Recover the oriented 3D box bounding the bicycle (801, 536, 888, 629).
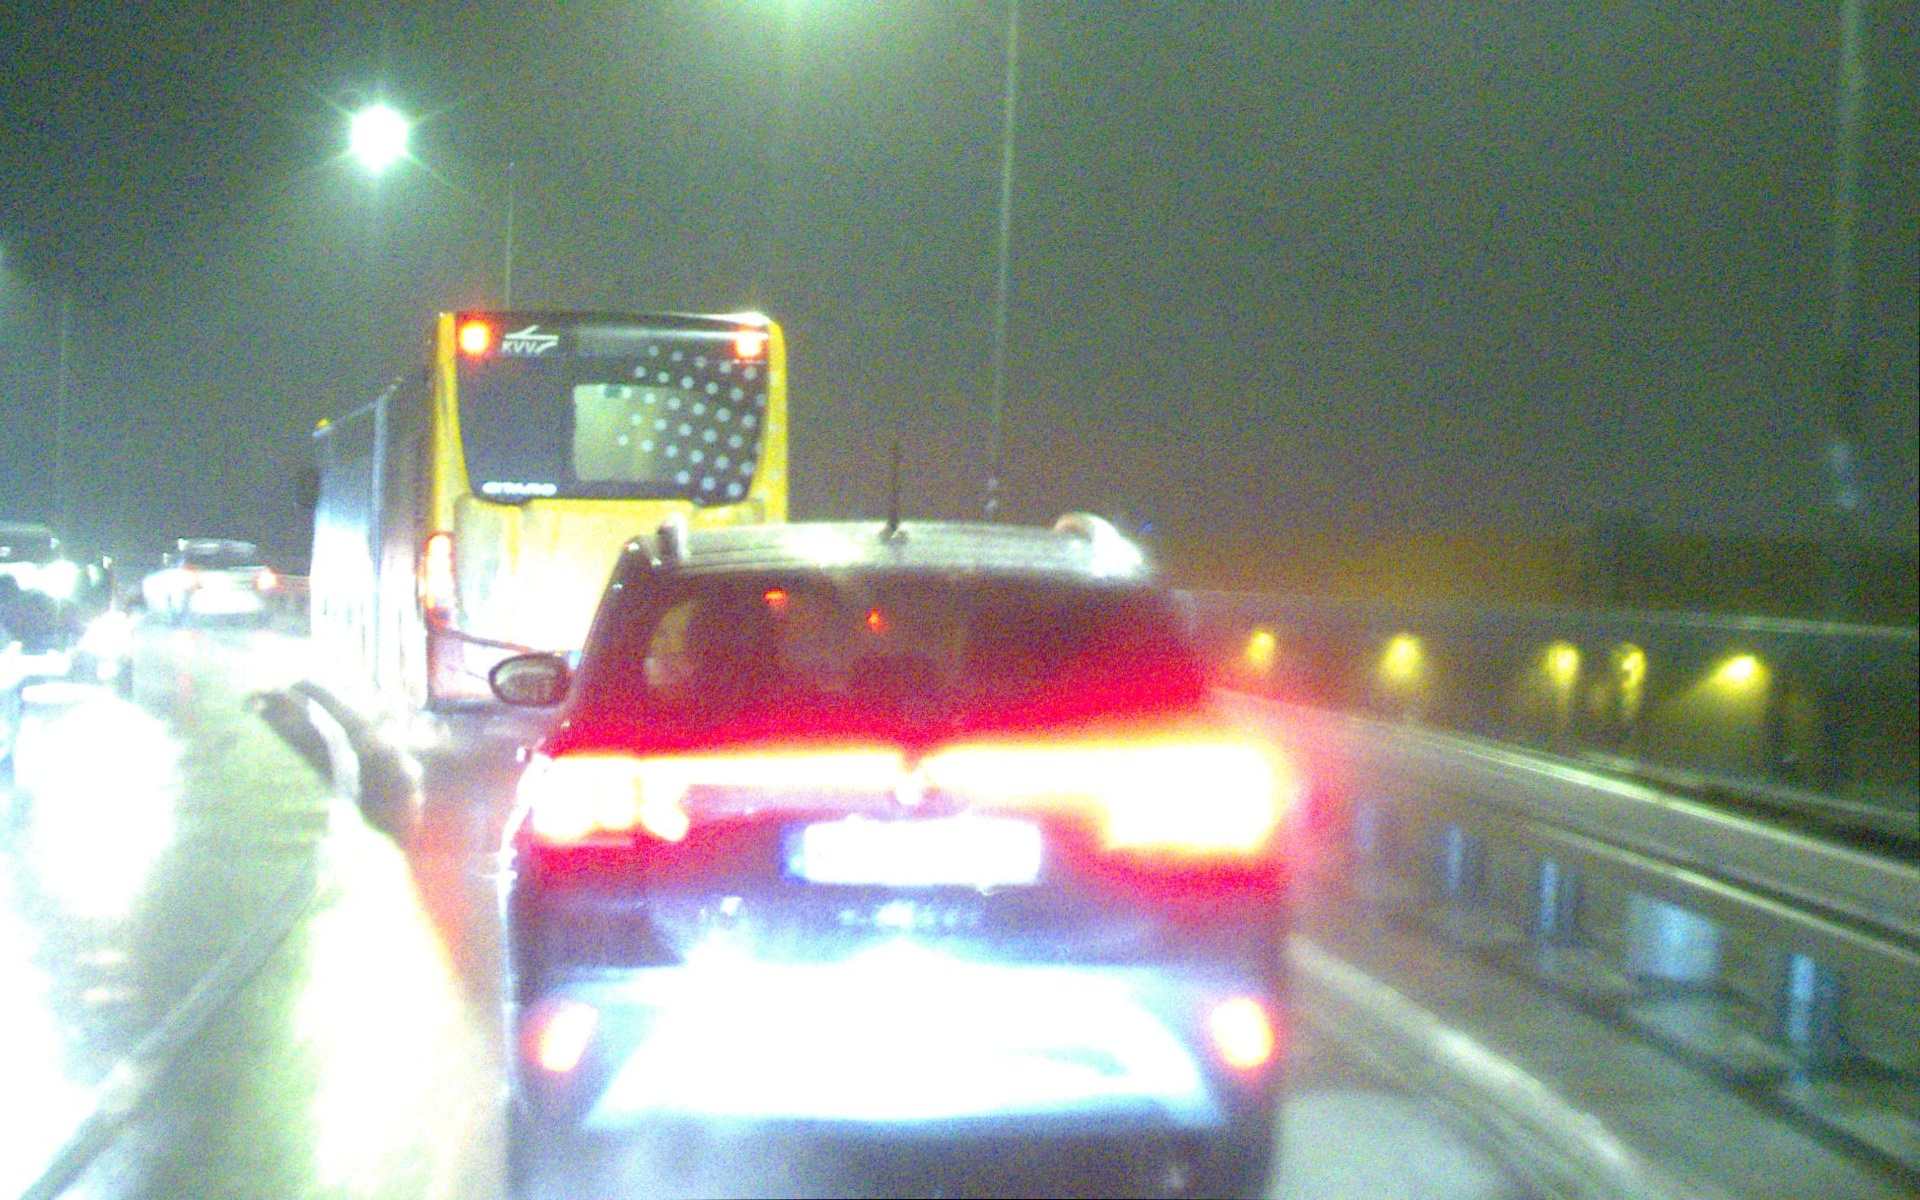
[{"bbox_3d":[-1.343,-0.211,39.483,0.484,1.031,2.172,0,1,-16],"label":"bicycle"}]

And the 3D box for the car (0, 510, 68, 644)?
[{"bbox_3d":[-14.051,-0.358,49.849,1.753,1.854,4.001,-2,2,-20],"label":"car"}]

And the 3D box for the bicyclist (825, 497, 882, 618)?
[{"bbox_3d":[-1.210,-0.485,39.041,0.452,1.345,0.765,1,1,-15],"label":"bicyclist"}]

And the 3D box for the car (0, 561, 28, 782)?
[{"bbox_3d":[-6.684,0.445,20.278,1.682,1.386,4.452,1,0,-8],"label":"car"}]

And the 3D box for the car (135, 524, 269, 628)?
[{"bbox_3d":[-12.962,-0.392,58.667,1.636,1.650,3.711,-3,1,-21],"label":"car"}]

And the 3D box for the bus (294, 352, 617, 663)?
[{"bbox_3d":[-5.983,-1.081,39.584,3.048,3.121,8.081,2,2,-12],"label":"bus"}]

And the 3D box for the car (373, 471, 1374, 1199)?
[{"bbox_3d":[-0.482,0.536,8.839,1.855,1.581,4.001,2,0,-12],"label":"car"}]

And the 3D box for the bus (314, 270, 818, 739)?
[{"bbox_3d":[-3.805,-0.800,29.406,3.082,3.122,12.701,0,1,-12],"label":"bus"}]

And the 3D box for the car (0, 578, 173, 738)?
[{"bbox_3d":[-8.842,0.526,34.160,1.814,1.399,4.049,-1,2,-11],"label":"car"}]
